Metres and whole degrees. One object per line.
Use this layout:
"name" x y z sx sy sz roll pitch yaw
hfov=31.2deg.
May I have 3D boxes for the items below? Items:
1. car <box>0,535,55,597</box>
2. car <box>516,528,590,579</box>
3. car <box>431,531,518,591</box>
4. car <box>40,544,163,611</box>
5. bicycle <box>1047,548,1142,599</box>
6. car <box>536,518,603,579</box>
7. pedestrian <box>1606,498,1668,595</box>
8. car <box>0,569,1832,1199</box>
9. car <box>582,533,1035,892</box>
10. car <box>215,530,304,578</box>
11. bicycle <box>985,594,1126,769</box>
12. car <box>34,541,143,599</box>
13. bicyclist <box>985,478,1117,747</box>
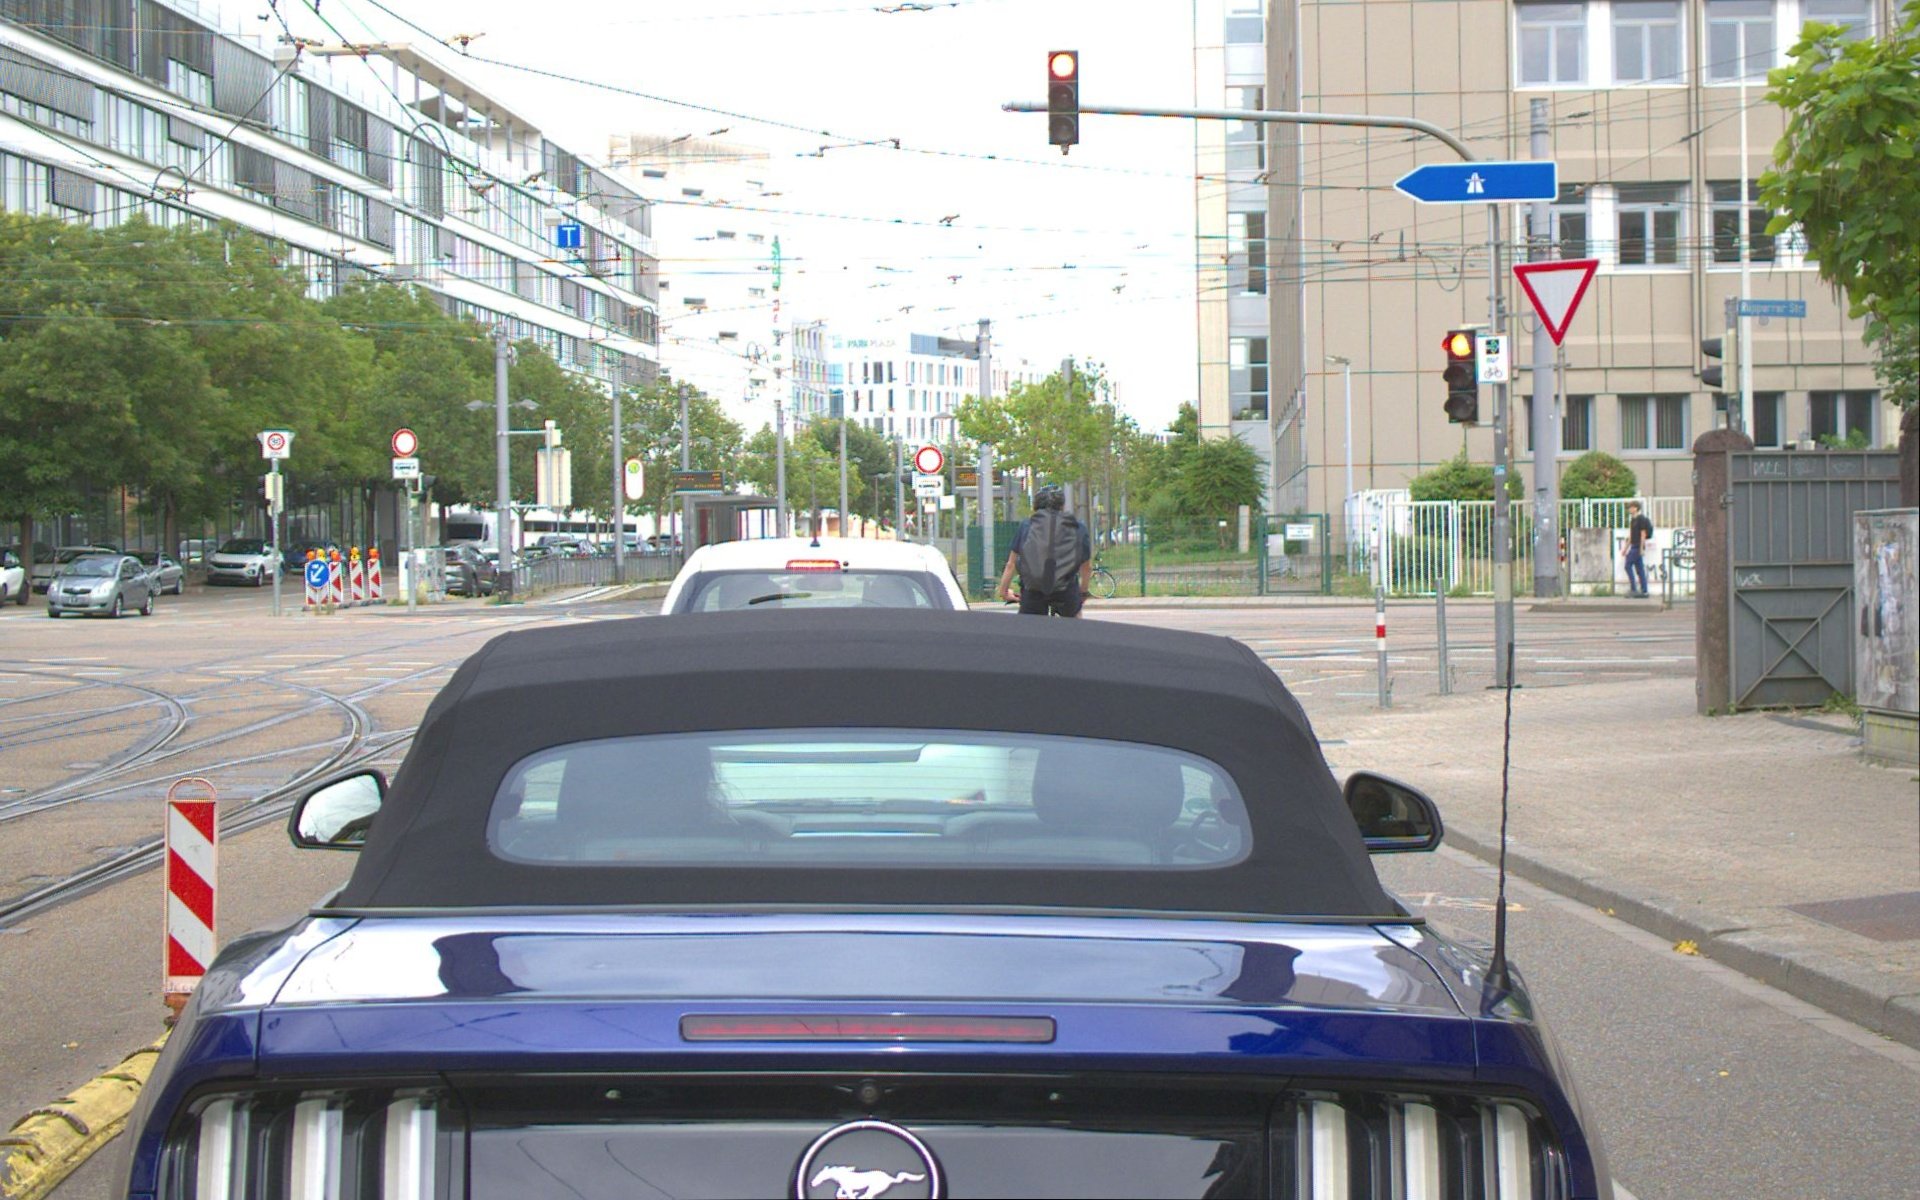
"car" -25.540 -0.934 90.948 1.830 1.551 4.216 1 1 3
"car" -13.099 -1.515 110.828 1.868 1.600 4.213 -1 1 -1
"car" -13.704 -1.117 97.258 1.879 1.623 4.087 -1 1 -1
"car" -20.697 -0.565 83.005 1.668 1.501 4.234 1 1 3
"bicycle" 2.834 -0.562 72.727 0.632 0.977 2.157 -2 -1 -42
"car" -13.141 -1.754 115.953 1.785 1.980 4.121 -1 1 -1
"pedestrian" 13.368 -1.057 67.902 1.086 1.891 0.902 -1 1 5
"car" -0.139 0.689 5.376 1.876 1.399 4.282 1 1 0
"car" -0.787 0.417 16.186 1.835 1.434 4.188 -1 1 -5
"car" -23.676 -1.569 116.350 1.986 1.551 4.512 1 1 1
"bicycle" 0.626 0.526 23.298 0.800 1.082 2.132 -1 1 -2
"car" -24.851 -0.877 98.161 1.830 1.551 4.216 1 1 3
"bicyclist" 0.611 0.071 23.461 0.796 1.779 1.233 -1 1 -2
